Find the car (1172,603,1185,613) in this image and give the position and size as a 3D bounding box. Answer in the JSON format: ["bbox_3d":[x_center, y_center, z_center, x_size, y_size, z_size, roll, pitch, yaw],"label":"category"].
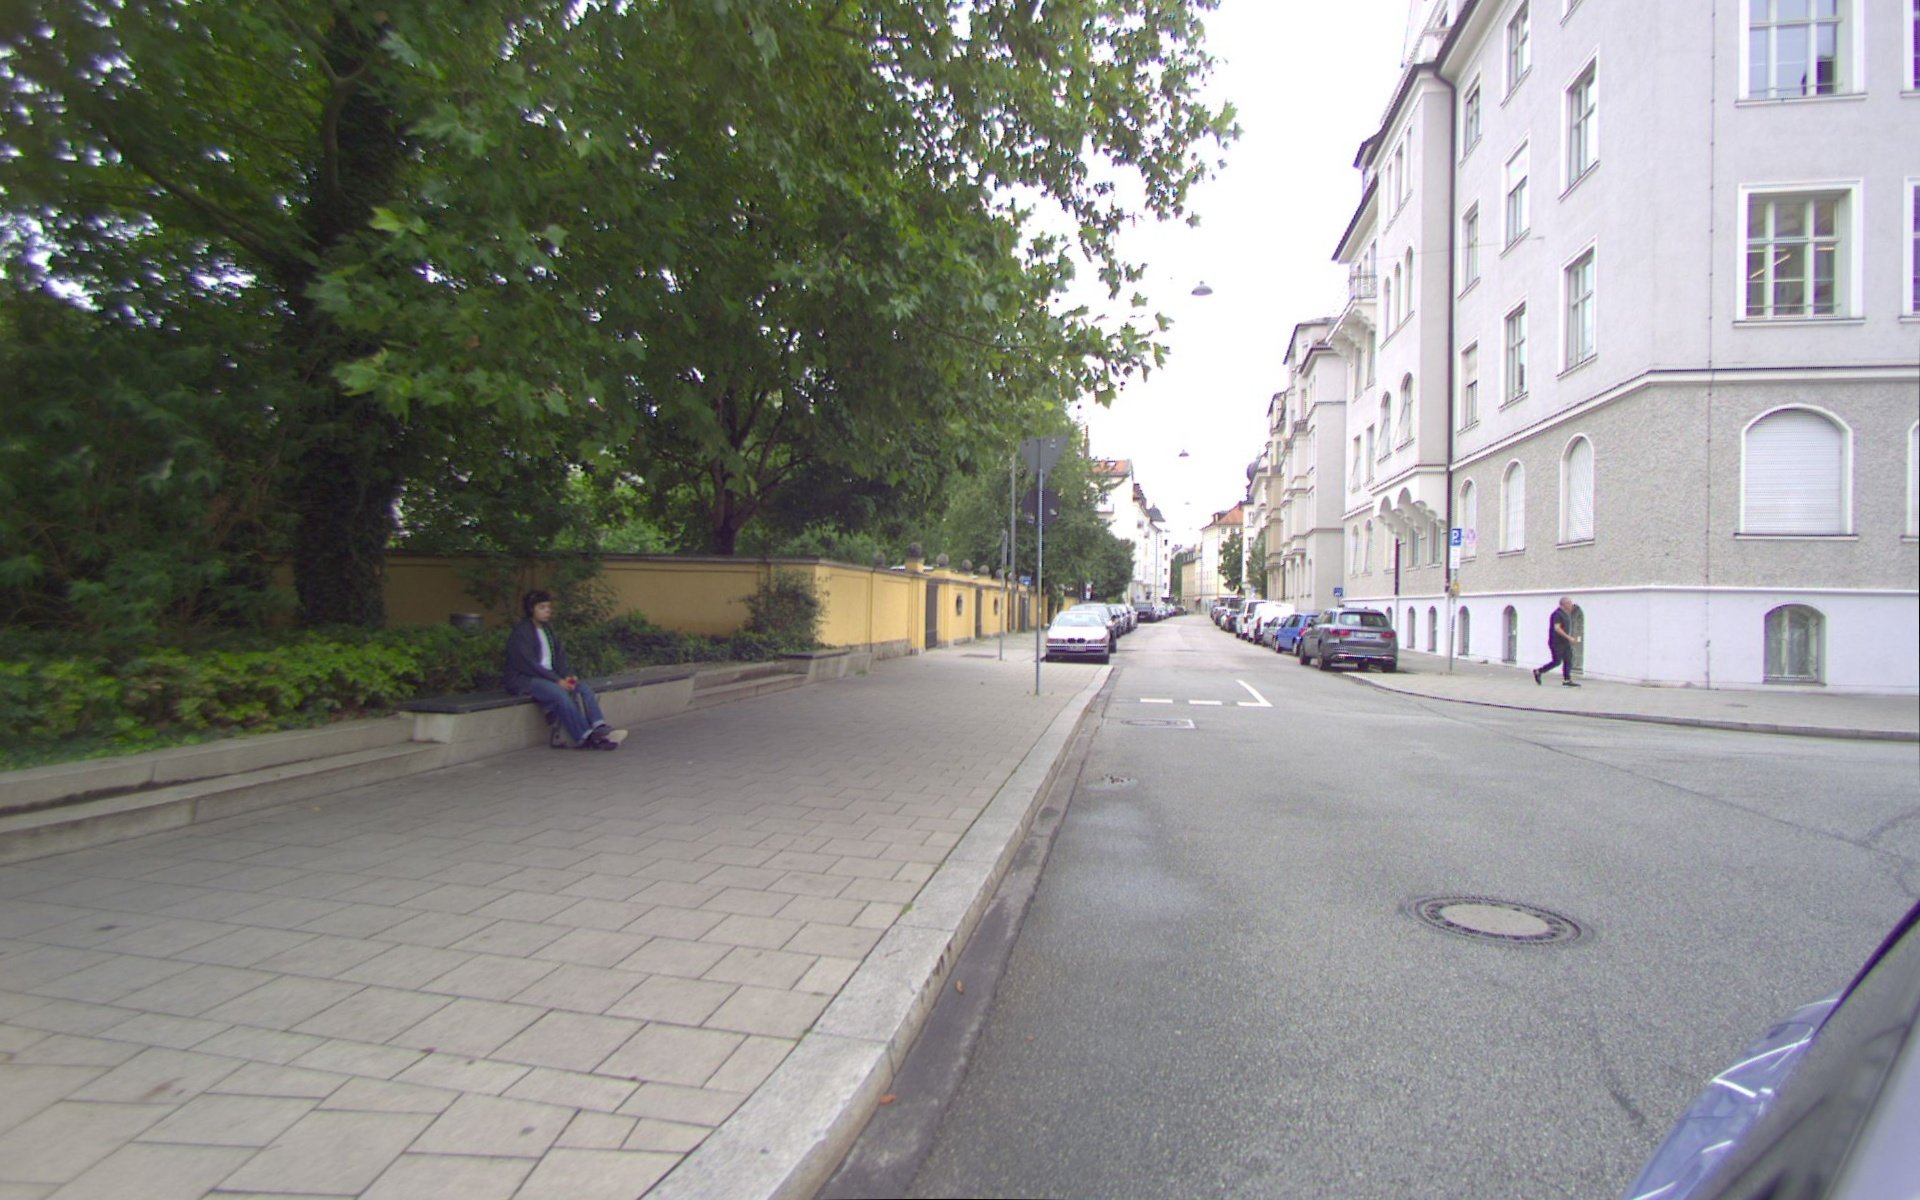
[{"bbox_3d":[35.550,1.221,164.832,1.767,1.566,3.600,1,0,10],"label":"car"}]

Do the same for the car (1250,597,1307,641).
[{"bbox_3d":[13.778,0.779,43.998,1.768,1.806,3.830,1,0,9],"label":"car"}]

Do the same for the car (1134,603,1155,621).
[{"bbox_3d":[16.251,1.034,89.398,1.767,1.566,3.600,1,0,10],"label":"car"}]

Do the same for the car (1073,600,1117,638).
[{"bbox_3d":[5.915,0.797,44.094,1.767,1.566,3.295,1,0,10],"label":"car"}]

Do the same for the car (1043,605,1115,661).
[{"bbox_3d":[3.442,0.869,28.605,1.772,1.386,4.452,1,0,10],"label":"car"}]

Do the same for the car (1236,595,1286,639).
[{"bbox_3d":[14.846,0.784,50.063,1.789,2.061,4.024,1,0,9],"label":"car"}]

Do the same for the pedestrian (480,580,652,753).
[{"bbox_3d":[-3.319,0.531,8.590,1.113,1.374,0.769,1,0,11],"label":"pedestrian"}]

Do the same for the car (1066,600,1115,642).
[{"bbox_3d":[5.203,0.787,40.012,1.767,1.566,3.946,1,0,9],"label":"car"}]

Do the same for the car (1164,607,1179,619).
[{"bbox_3d":[29.052,1.755,139.105,1.767,1.566,3.600,1,0,10],"label":"car"}]

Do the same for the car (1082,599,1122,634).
[{"bbox_3d":[6.735,0.761,47.752,1.767,1.566,3.295,1,0,10],"label":"car"}]

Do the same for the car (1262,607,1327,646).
[{"bbox_3d":[13.088,0.998,39.783,1.768,1.422,3.830,1,0,9],"label":"car"}]

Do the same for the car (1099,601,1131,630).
[{"bbox_3d":[8.905,0.864,58.022,1.767,1.566,3.295,1,0,10],"label":"car"}]

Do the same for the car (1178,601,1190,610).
[{"bbox_3d":[38.554,0.937,174.430,1.767,1.566,3.600,1,0,10],"label":"car"}]

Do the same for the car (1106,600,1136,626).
[{"bbox_3d":[10.061,0.814,63.231,1.767,1.566,3.295,1,0,10],"label":"car"}]

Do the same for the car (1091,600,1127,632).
[{"bbox_3d":[7.694,0.812,52.076,1.767,1.566,3.295,1,0,10],"label":"car"}]

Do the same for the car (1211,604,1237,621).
[{"bbox_3d":[23.001,1.093,88.387,1.789,1.444,3.830,1,0,9],"label":"car"}]

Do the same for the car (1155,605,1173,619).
[{"bbox_3d":[23.246,1.381,115.438,1.767,1.566,3.600,1,0,10],"label":"car"}]

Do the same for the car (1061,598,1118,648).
[{"bbox_3d":[4.453,0.748,34.400,1.767,1.566,3.946,1,0,9],"label":"car"}]

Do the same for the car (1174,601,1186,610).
[{"bbox_3d":[36.831,0.923,169.378,1.767,1.566,3.600,1,0,10],"label":"car"}]

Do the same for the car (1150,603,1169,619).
[{"bbox_3d":[20.443,1.100,103.567,1.767,1.566,3.600,1,0,10],"label":"car"}]

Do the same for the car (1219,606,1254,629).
[{"bbox_3d":[18.501,1.155,67.780,1.789,1.444,3.830,1,0,9],"label":"car"}]

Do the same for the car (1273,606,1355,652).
[{"bbox_3d":[12.054,0.934,34.693,1.861,1.422,4.240,1,0,9],"label":"car"}]

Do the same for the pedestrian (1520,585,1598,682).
[{"bbox_3d":[11.583,0.626,19.576,0.980,1.824,0.931,1,0,-30],"label":"pedestrian"}]

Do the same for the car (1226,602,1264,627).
[{"bbox_3d":[17.867,0.895,63.511,1.789,1.444,3.830,1,0,9],"label":"car"}]

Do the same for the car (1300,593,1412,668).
[{"bbox_3d":[10.434,0.745,26.961,1.861,1.818,4.240,1,0,9],"label":"car"}]
